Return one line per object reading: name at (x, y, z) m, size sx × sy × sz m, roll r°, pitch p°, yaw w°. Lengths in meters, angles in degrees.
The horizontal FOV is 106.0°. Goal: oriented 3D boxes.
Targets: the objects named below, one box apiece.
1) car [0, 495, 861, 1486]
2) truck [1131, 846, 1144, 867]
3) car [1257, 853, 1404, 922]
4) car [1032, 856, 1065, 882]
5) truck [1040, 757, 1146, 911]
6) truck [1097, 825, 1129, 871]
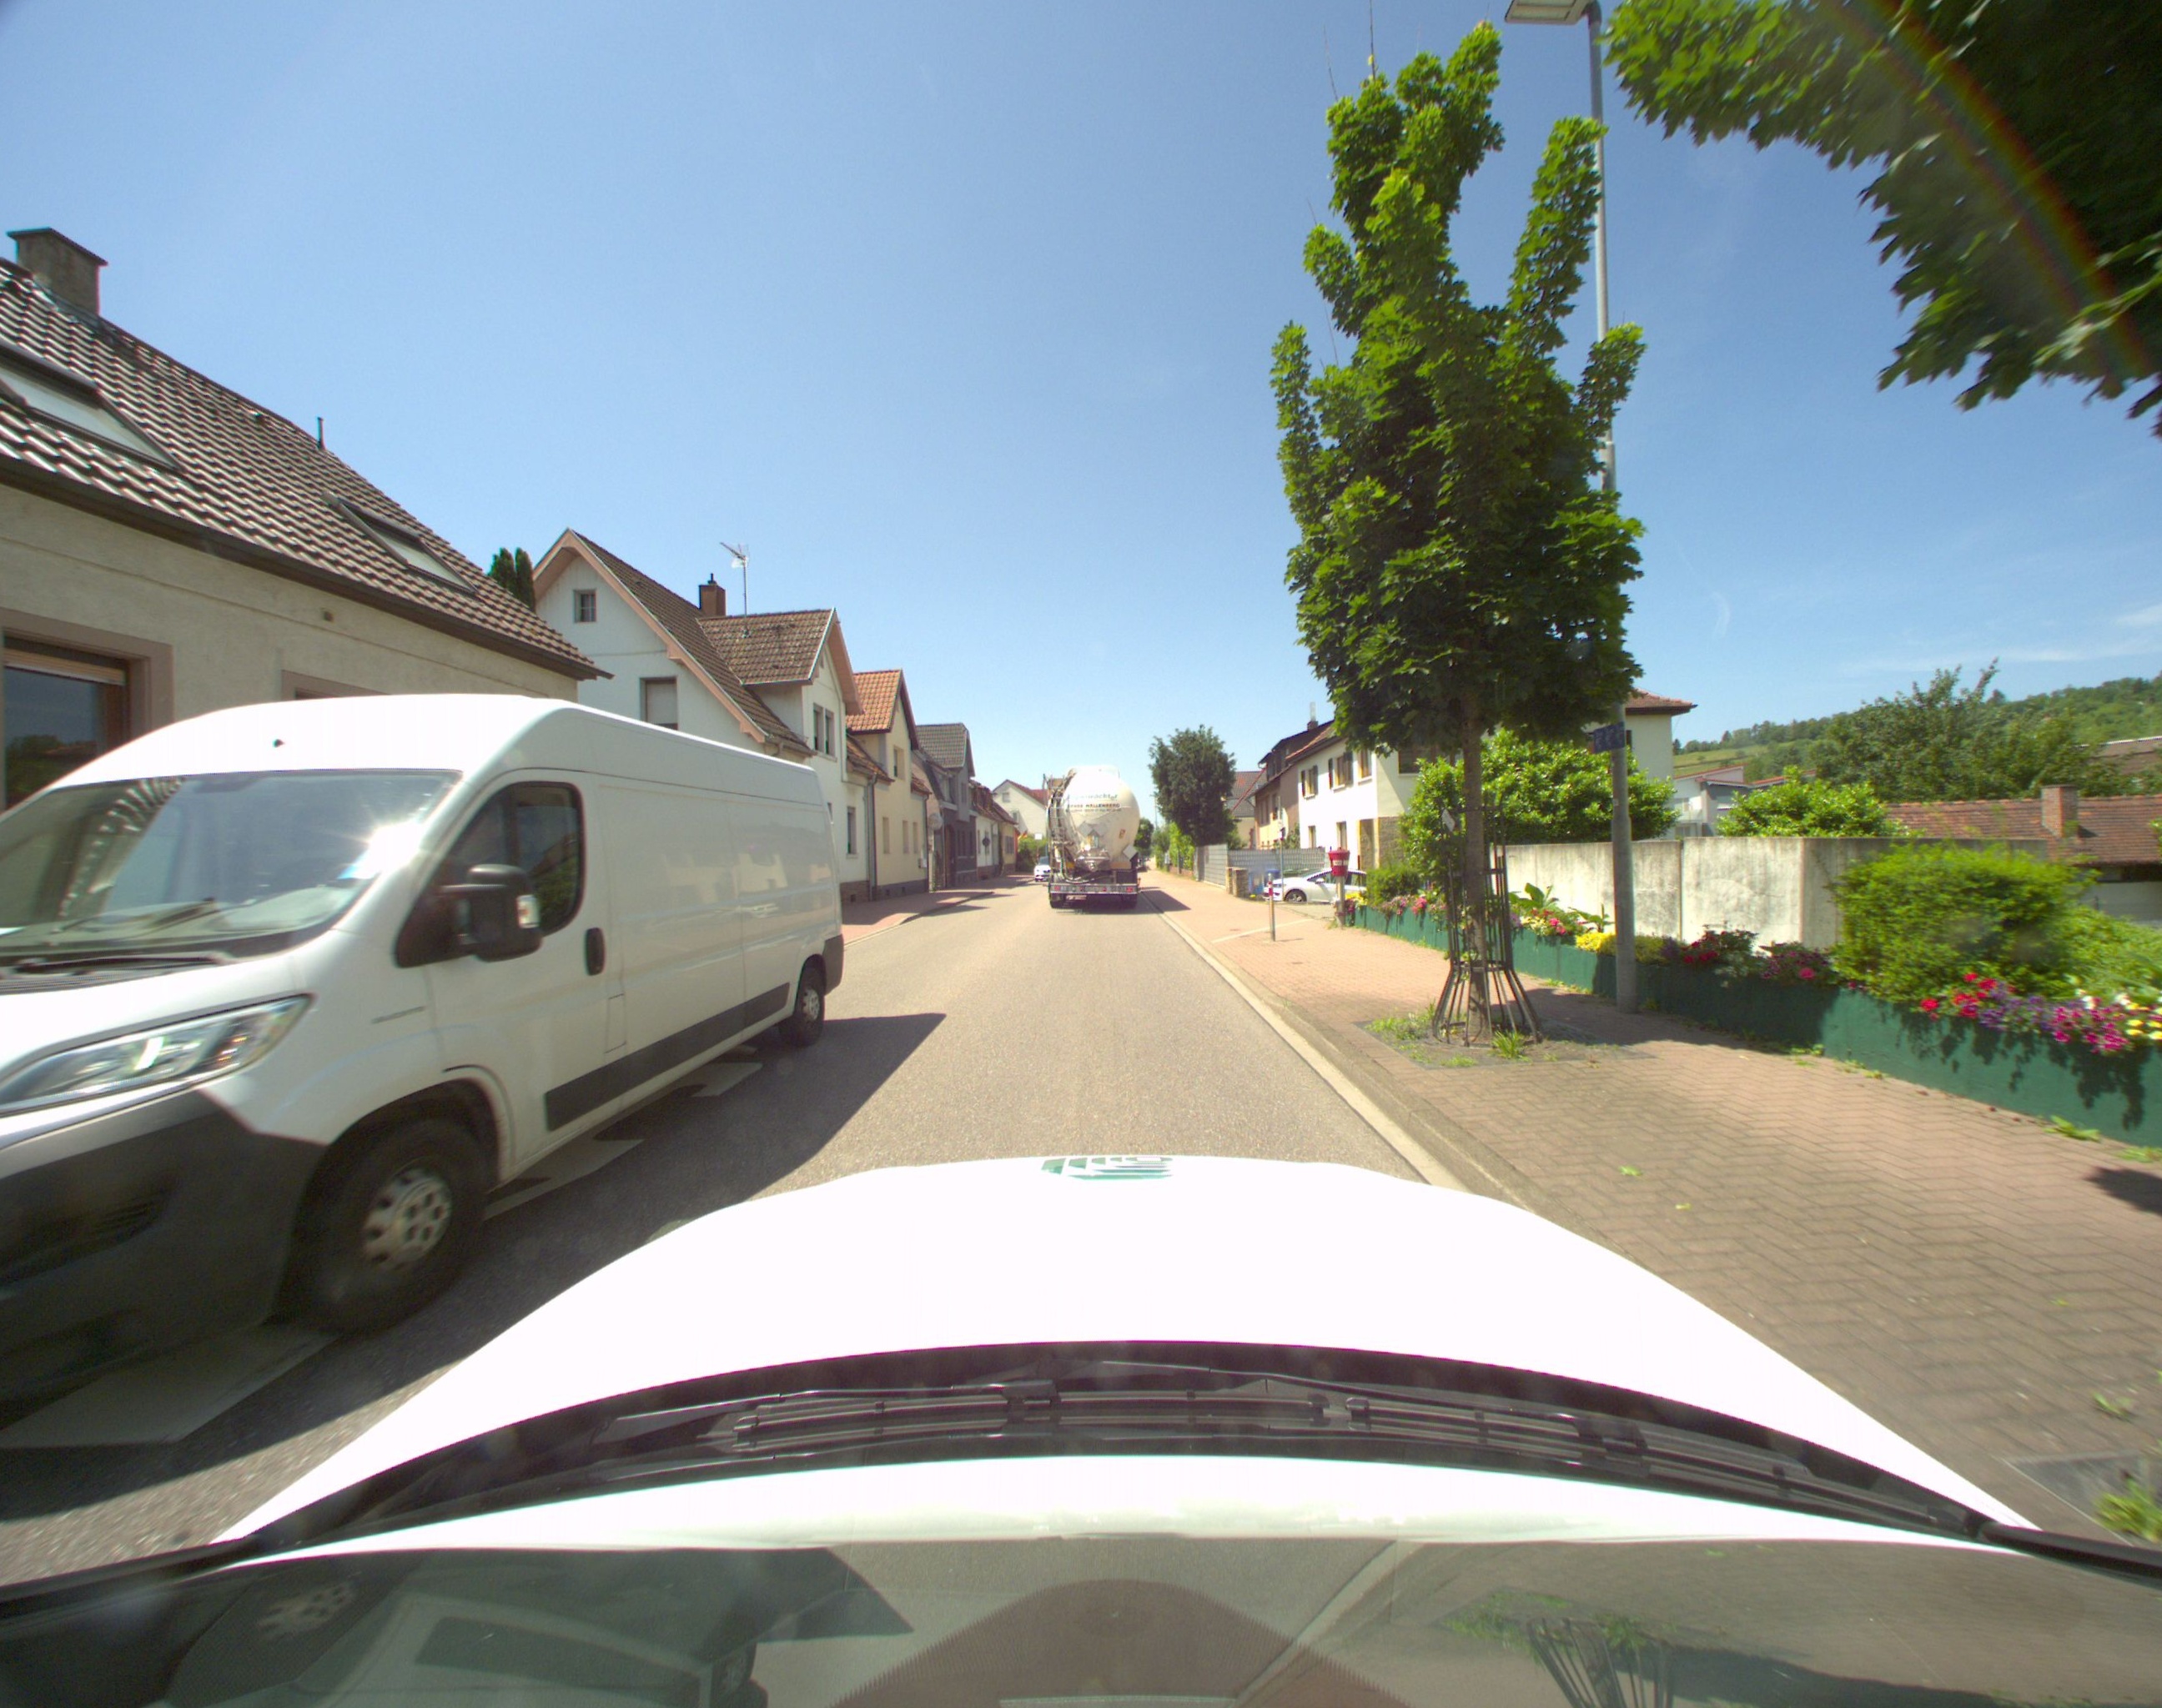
car at (-3.299, 0.386, 5.035) m, size 2.062 × 2.455 × 6.007 m, roll -3°, pitch 0°, yaw 1°
truck at (8.968, 0.426, 127.981) m, size 1.984 × 3.137 × 9.459 m, roll 0°, pitch 0°, yaw 4°
car at (8.158, 1.075, 26.925) m, size 4.155 × 1.587 × 1.908 m, roll 8°, pitch 0°, yaw 2°
car at (-2.113, 1.004, 54.648) m, size 1.844 × 1.571 × 4.255 m, roll -4°, pitch -1°, yaw 1°
truck at (0.376, -0.462, 25.030) m, size 2.723 × 3.960 × 8.142 m, roll 0°, pitch -1°, yaw 1°
truck at (3.031, -0.454, 74.934) m, size 2.720 × 3.960 × 8.150 m, roll 0°, pitch -1°, yaw 4°
